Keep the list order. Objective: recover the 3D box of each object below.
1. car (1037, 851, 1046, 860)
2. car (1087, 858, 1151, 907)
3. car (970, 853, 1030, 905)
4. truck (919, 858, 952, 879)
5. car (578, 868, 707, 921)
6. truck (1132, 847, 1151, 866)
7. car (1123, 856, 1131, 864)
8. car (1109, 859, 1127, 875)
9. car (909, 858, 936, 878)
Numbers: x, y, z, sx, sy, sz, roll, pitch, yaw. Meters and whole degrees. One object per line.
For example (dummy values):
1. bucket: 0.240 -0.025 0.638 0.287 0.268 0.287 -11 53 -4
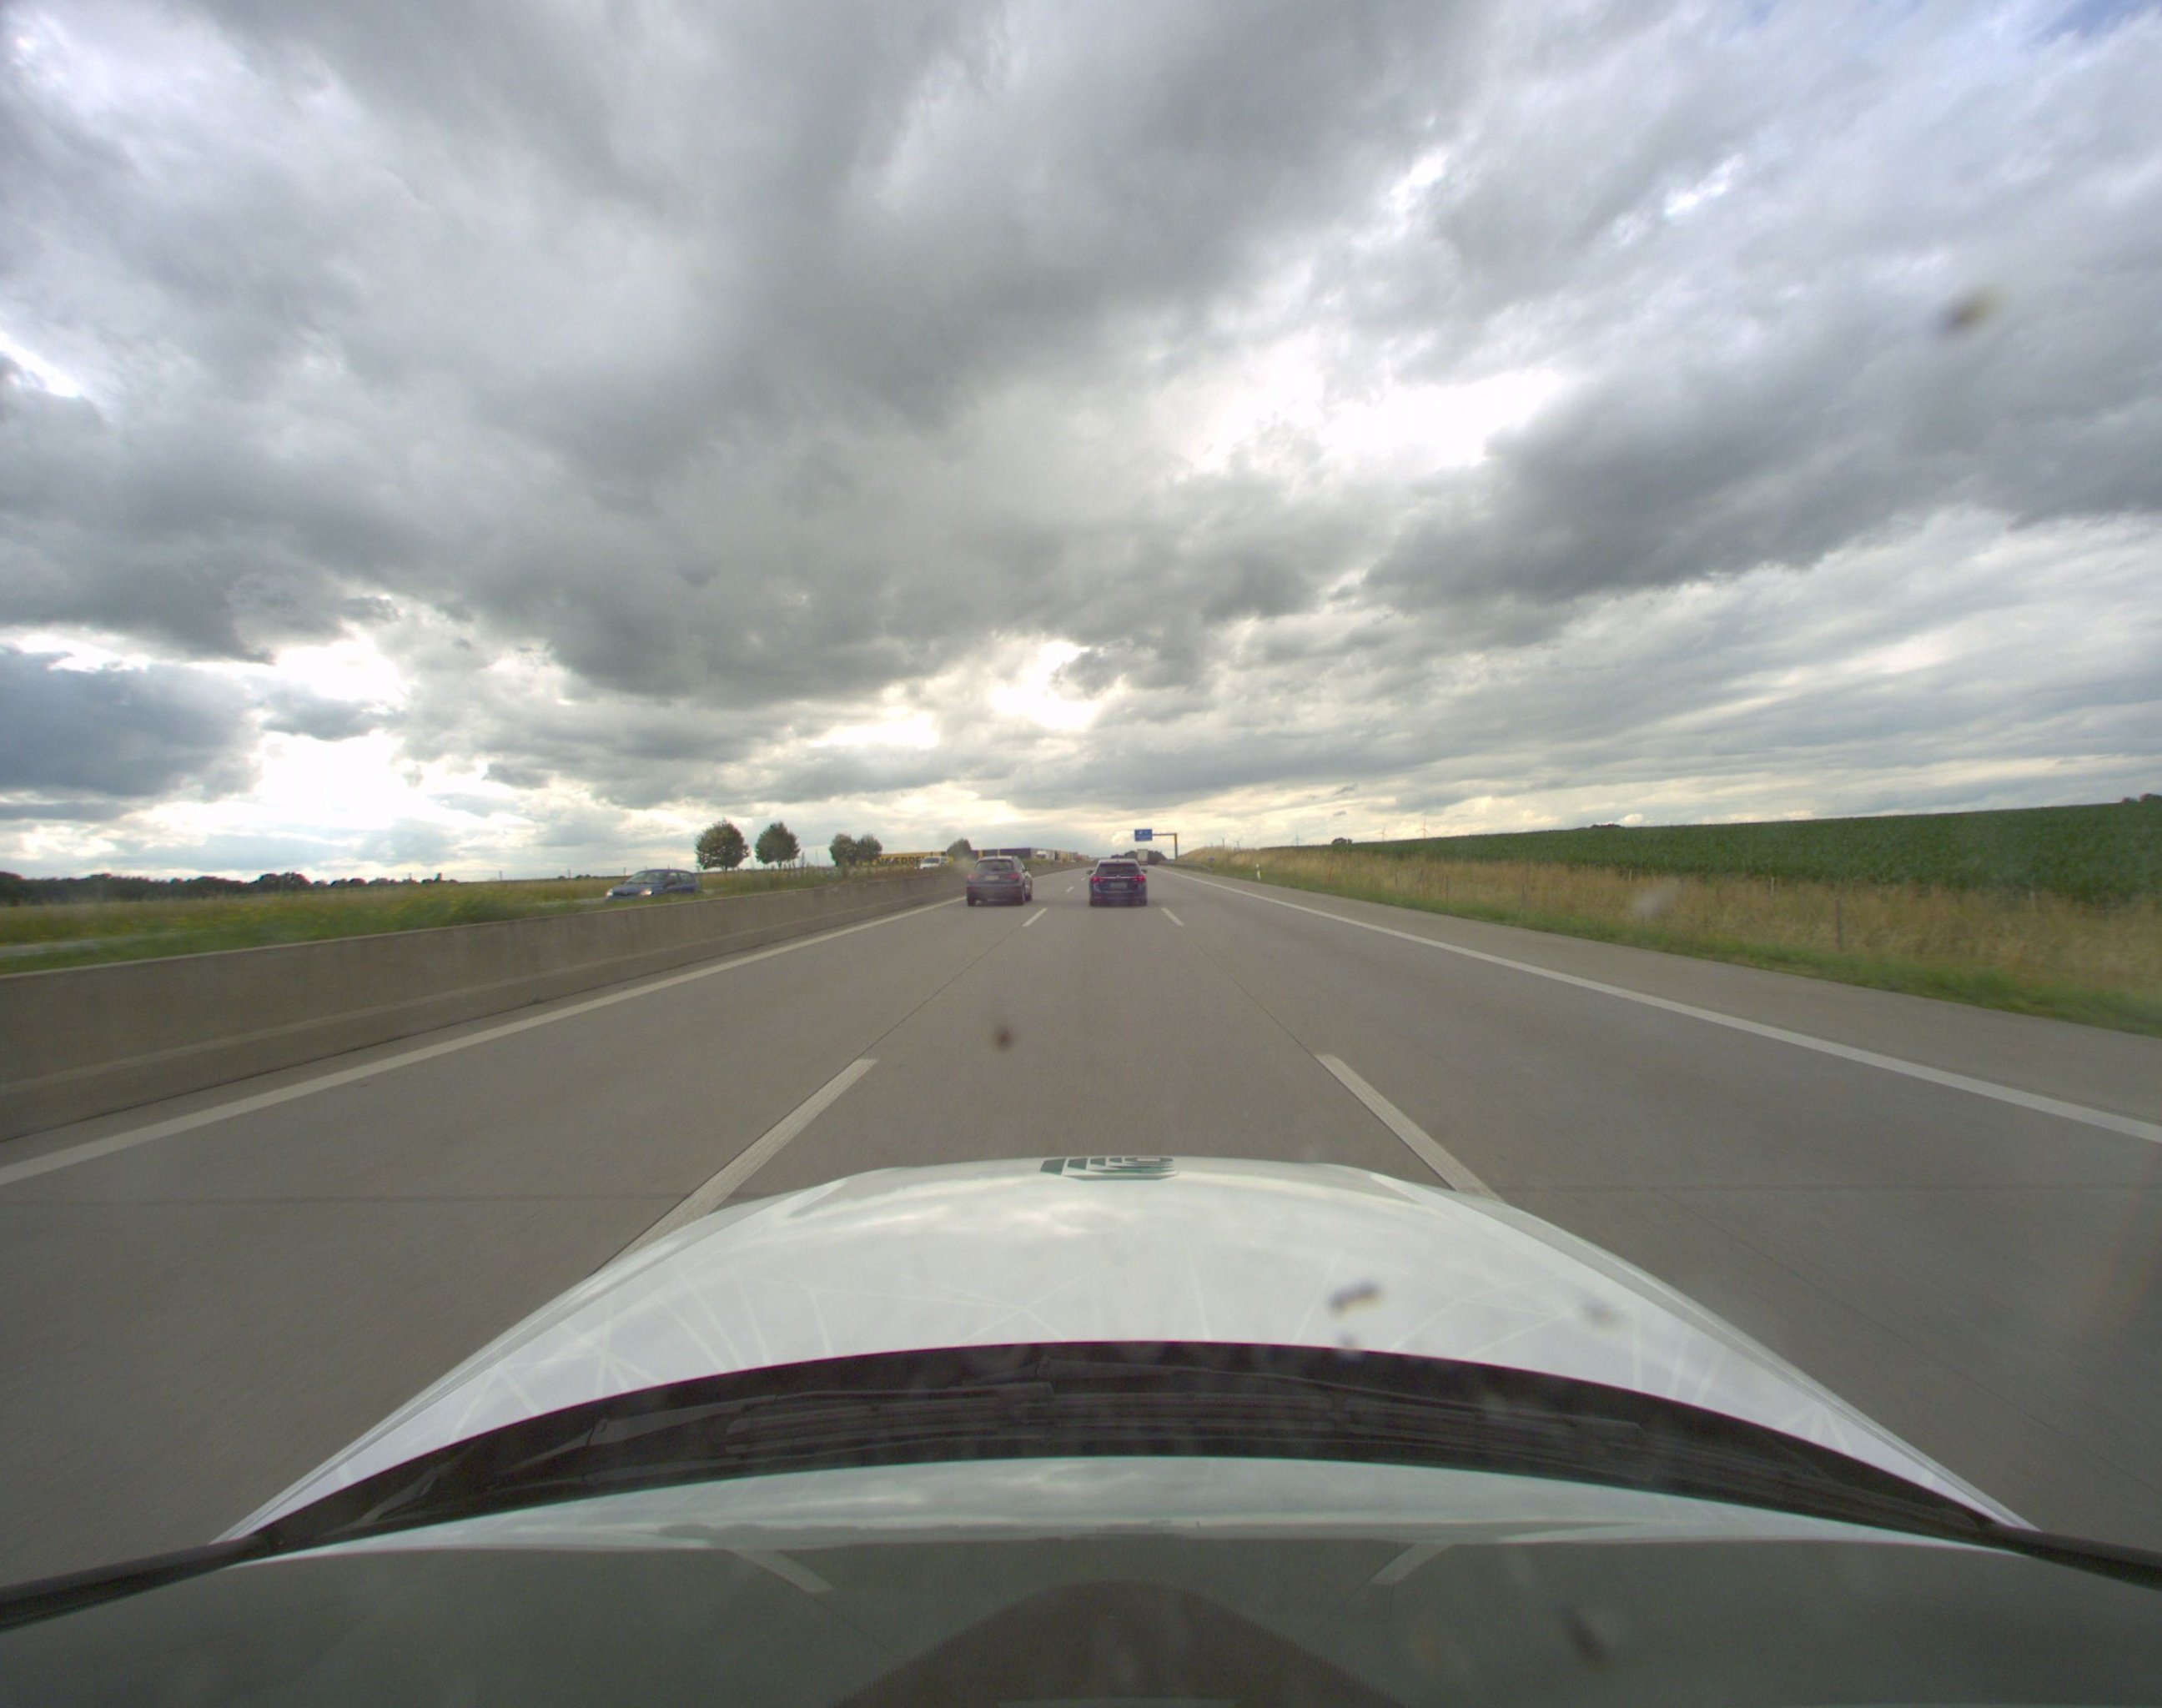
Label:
1. car: -9.607 0.353 197.584 1.986 2.014 4.002 0 -1 2
2. car: 1.137 0.845 26.015 1.770 1.413 3.998 -1 -1 -1
3. car: -2.651 0.783 27.639 1.789 1.596 5.151 0 0 -3
4. truck: -13.296 1.302 74.583 1.939 1.806 5.129 0 -1 2
5. car: -14.565 1.289 27.379 1.986 1.612 4.116 0 -1 2
6. truck: 14.968 0.711 203.066 3.936 4.756 12.076 0 -1 1
7. car: 12.349 1.663 218.675 1.988 2.014 3.997 0 -1 -1
8. car: 4.606 1.659 102.032 1.987 2.014 3.999 0 -1 0
9. car: -17.059 1.509 87.950 1.986 2.014 4.002 0 -1 2
